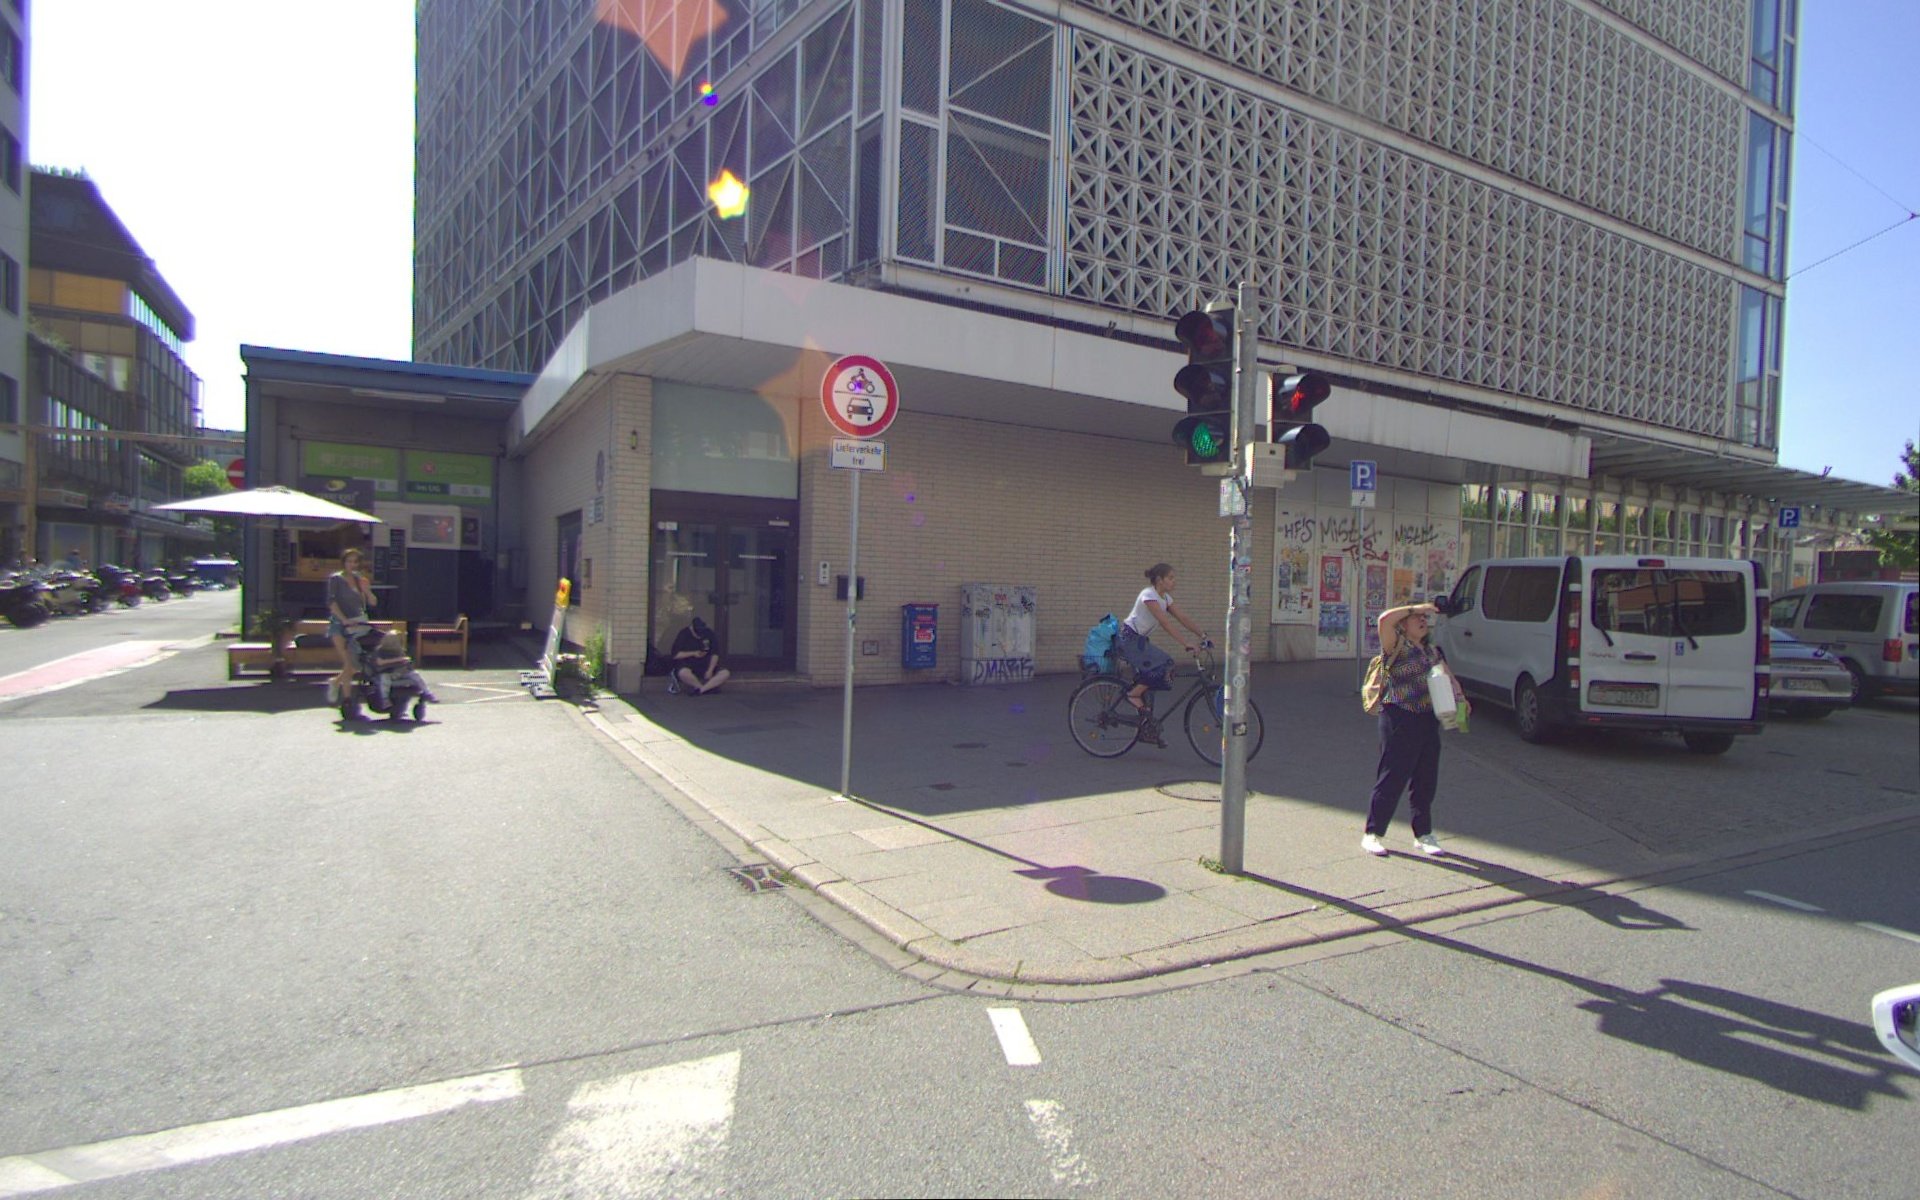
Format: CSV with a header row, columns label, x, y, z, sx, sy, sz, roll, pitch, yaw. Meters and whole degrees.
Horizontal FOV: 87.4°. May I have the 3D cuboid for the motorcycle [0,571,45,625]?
label,x,y,z,sx,sy,sz,roll,pitch,yaw
motorcycle,-22.052,-0.049,22.623,0.693,1.189,2.064,2,2,19

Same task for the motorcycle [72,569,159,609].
label,x,y,z,sx,sy,sz,roll,pitch,yaw
motorcycle,-26.322,-0.350,31.358,0.693,1.189,2.065,2,2,15

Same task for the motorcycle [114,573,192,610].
label,x,y,z,sx,sy,sz,roll,pitch,yaw
motorcycle,-27.432,-0.297,34.189,0.693,1.189,2.065,2,2,15

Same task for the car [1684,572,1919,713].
label,x,y,z,sx,sy,sz,roll,pitch,yaw
car,13.930,0.557,15.977,1.969,1.935,4.448,1,1,7

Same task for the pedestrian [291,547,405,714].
label,x,y,z,sx,sy,sz,roll,pitch,yaw
pedestrian,-6.675,0.304,10.951,0.832,1.681,0.836,7,5,41

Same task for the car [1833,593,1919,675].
label,x,y,z,sx,sy,sz,roll,pitch,yaw
car,21.165,0.743,22.005,4.355,1.632,1.981,1,2,-34

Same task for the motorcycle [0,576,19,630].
label,x,y,z,sx,sy,sz,roll,pitch,yaw
motorcycle,-20.323,0.079,20.145,0.593,1.081,2.064,2,2,19

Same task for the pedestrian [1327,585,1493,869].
label,x,y,z,sx,sy,sz,roll,pitch,yaw
pedestrian,2.727,0.712,6.098,0.675,1.580,0.633,0,3,-41

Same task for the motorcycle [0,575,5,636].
label,x,y,z,sx,sy,sz,roll,pitch,yaw
motorcycle,-19.473,0.109,18.925,0.594,1.189,2.062,3,2,25

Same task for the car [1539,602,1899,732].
label,x,y,z,sx,sy,sz,roll,pitch,yaw
car,10.462,0.822,14.375,1.931,1.304,4.298,2,3,2

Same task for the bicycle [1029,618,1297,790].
label,x,y,z,sx,sy,sz,roll,pitch,yaw
bicycle,1.756,0.845,8.823,2.171,1.284,0.735,2,2,27

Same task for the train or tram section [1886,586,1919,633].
label,x,y,z,sx,sy,sz,roll,pitch,yaw
train or tram section,82.230,0.931,81.535,10.779,3.726,2.622,2,1,6

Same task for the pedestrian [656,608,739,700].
label,x,y,z,sx,sy,sz,roll,pitch,yaw
pedestrian,-3.371,0.678,12.861,0.831,1.071,0.717,1,5,-31

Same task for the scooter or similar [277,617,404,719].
label,x,y,z,sx,sy,sz,roll,pitch,yaw
scooter or similar,-6.650,0.695,10.779,0.958,0.977,0.898,3,2,40

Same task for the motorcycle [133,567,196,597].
label,x,y,z,sx,sy,sz,roll,pitch,yaw
motorcycle,-31.986,-0.726,40.407,0.696,1.189,1.861,3,3,38

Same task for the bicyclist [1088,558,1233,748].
label,x,y,z,sx,sy,sz,roll,pitch,yaw
bicyclist,1.764,0.422,8.813,1.057,1.560,0.735,2,2,27

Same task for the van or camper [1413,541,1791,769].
label,x,y,z,sx,sy,sz,roll,pitch,yaw
van or camper,6.972,0.414,11.641,1.959,2.041,4.662,2,2,10

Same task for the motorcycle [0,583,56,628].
label,x,y,z,sx,sy,sz,roll,pitch,yaw
motorcycle,-21.112,0.115,21.845,0.694,0.952,2.062,3,2,26

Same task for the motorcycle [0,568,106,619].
label,x,y,z,sx,sy,sz,roll,pitch,yaw
motorcycle,-22.907,-0.178,25.312,0.693,1.213,2.065,2,1,16
